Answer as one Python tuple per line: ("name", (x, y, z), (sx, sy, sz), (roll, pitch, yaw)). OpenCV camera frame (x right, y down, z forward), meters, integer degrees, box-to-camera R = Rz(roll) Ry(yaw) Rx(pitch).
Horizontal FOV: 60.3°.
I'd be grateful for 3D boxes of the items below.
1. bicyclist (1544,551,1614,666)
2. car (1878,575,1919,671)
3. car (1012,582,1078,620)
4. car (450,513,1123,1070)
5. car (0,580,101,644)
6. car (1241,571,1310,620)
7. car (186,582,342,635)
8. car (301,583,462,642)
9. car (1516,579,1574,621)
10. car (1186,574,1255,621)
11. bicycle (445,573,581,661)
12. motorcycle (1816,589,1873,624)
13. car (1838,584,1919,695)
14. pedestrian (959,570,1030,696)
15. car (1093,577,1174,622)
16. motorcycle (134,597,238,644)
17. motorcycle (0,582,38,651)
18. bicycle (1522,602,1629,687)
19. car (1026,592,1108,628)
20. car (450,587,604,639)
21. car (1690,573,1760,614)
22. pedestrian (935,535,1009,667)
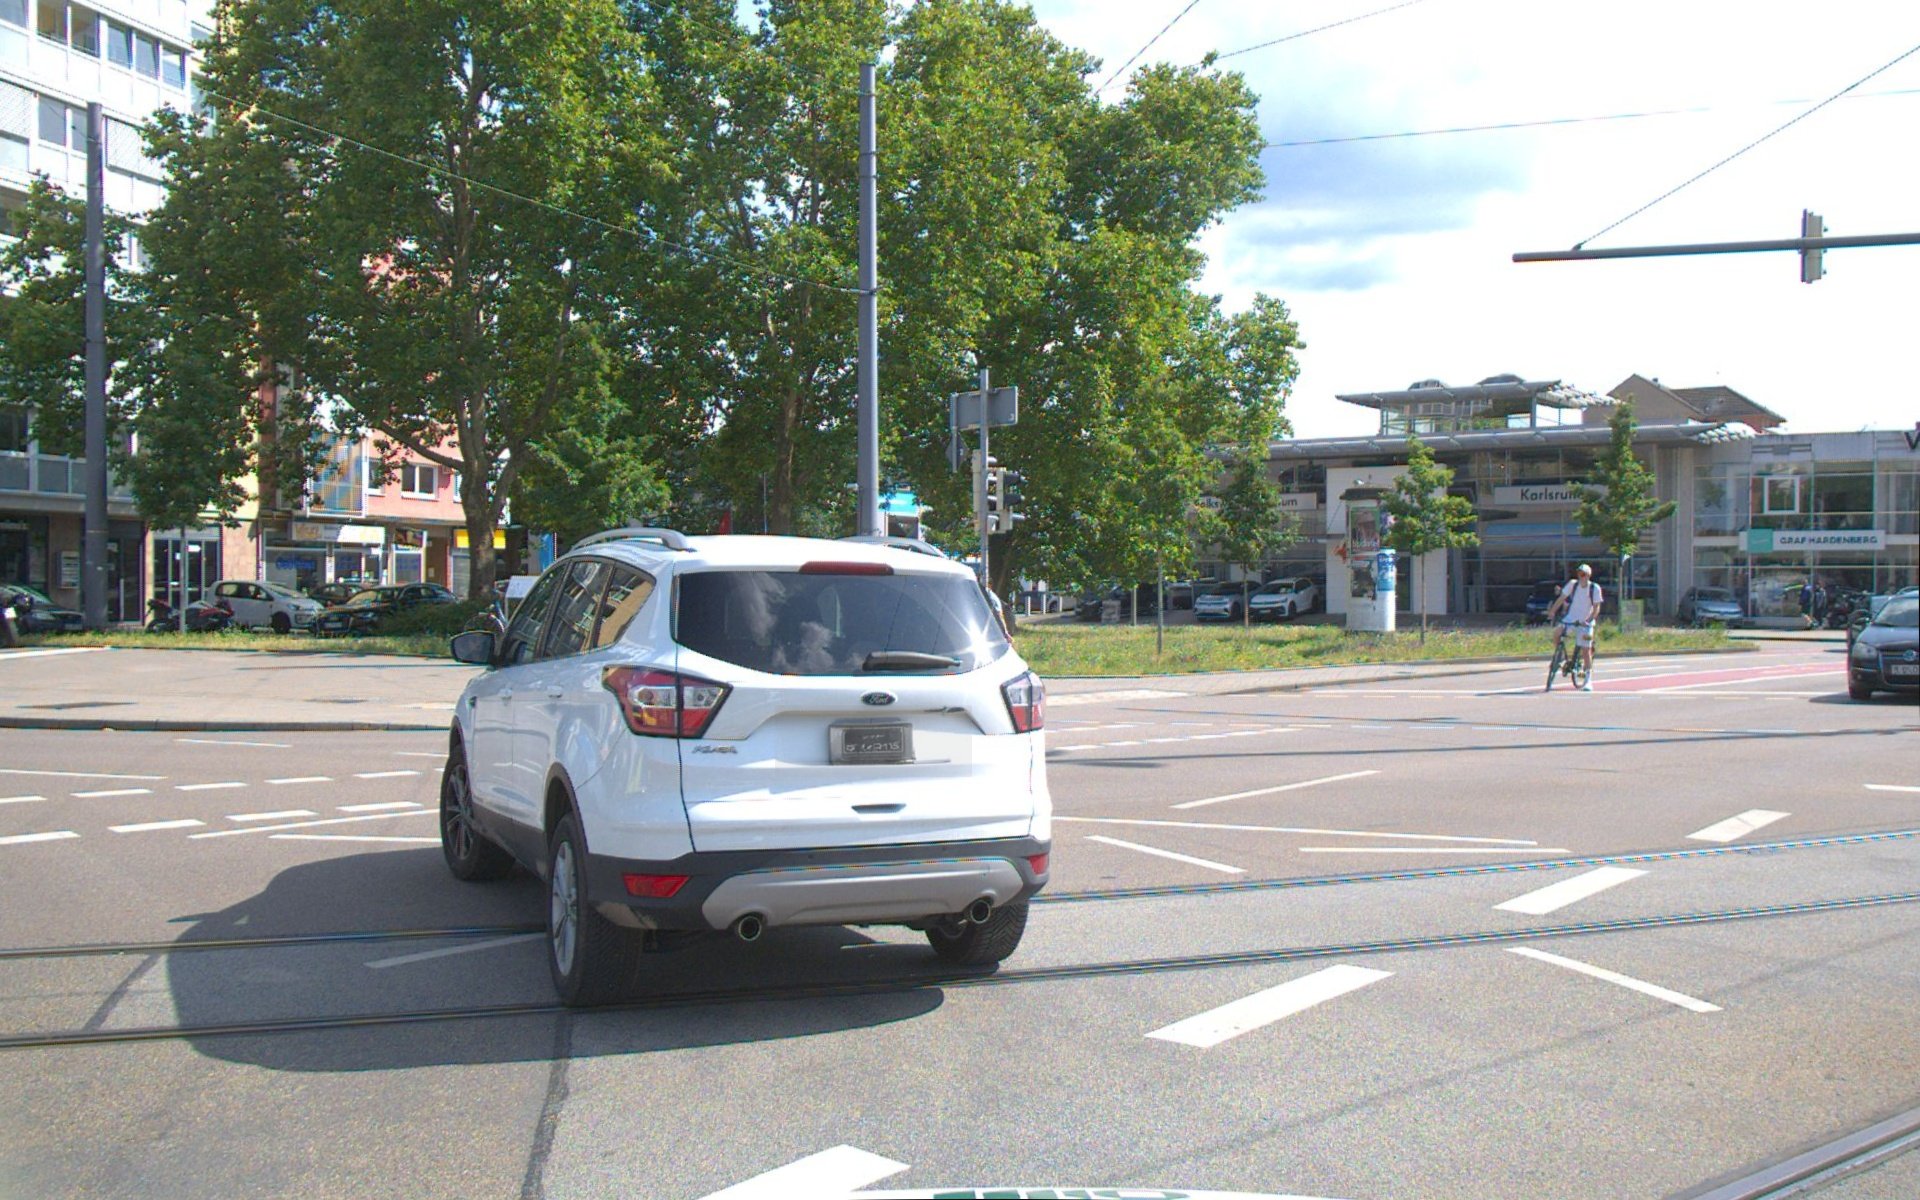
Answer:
("bicyclist", (9.395, 0.122, 25.118), (0.749, 1.712, 0.755), (-1, 0, 44))
("car", (17.797, 0.356, 28.890), (3.960, 1.600, 1.719), (-1, 0, -39))
("car", (4.206, 0.064, 82.083), (1.810, 1.821, 3.974), (1, -1, -22))
("car", (-1.042, 0.554, 7.199), (1.803, 1.693, 3.926), (0, 1, -24))
("car", (-22.153, 0.252, 38.244), (3.902, 1.422, 1.674), (0, 0, 14))
("car", (13.781, -0.155, 72.155), (1.954, 2.049, 4.228), (-1, -1, 25))
("car", (-20.228, 0.227, 48.129), (3.902, 1.521, 1.804), (0, 1, 14))
("car", (-14.695, 0.334, 42.261), (1.865, 1.438, 4.002), (0, -1, 17))
("car", (23.003, 0.027, 64.939), (1.782, 1.561, 3.914), (-1, -1, 25))
("car", (11.642, -0.085, 73.682), (1.928, 1.971, 4.228), (-1, -1, 25))
("bicycle", (-7.674, 0.279, 28.401), (2.122, 1.439, 0.813), (1, 1, 14))
("motorcycle", (32.842, 0.244, 61.430), (1.922, 1.206, 0.565), (2, 1, -13))
("car", (13.335, 0.486, 22.376), (1.713, 1.397, 3.618), (-1, 0, 43))
("pedestrian", (0.502, 0.469, 24.081), (0.904, 1.774, 0.590), (2, 1, 9))
("car", (8.083, -0.015, 76.714), (1.930, 1.971, 5.060), (-1, -1, 28))
("motorcycle", (-16.744, 0.429, 35.836), (2.011, 0.933, 0.805), (-1, 1, -24))
("motorcycle", (-18.100, 0.292, 31.037), (0.898, 1.259, 2.184), (-2, 2, -42))
("bicycle", (9.342, 0.650, 25.051), (0.749, 1.213, 2.136), (-1, 0, 43))
("car", (5.575, 0.543, 86.415), (3.922, 1.821, 1.834), (-1, -1, 38))
("car", (-11.540, 0.359, 44.062), (3.910, 1.350, 1.631), (0, -1, 28))
("car", (30.956, -0.233, 66.909), (1.788, 1.561, 3.901), (-2, -1, 37))
("pedestrian", (0.174, 0.008, 22.823), (0.904, 1.774, 0.590), (2, 1, 6))
